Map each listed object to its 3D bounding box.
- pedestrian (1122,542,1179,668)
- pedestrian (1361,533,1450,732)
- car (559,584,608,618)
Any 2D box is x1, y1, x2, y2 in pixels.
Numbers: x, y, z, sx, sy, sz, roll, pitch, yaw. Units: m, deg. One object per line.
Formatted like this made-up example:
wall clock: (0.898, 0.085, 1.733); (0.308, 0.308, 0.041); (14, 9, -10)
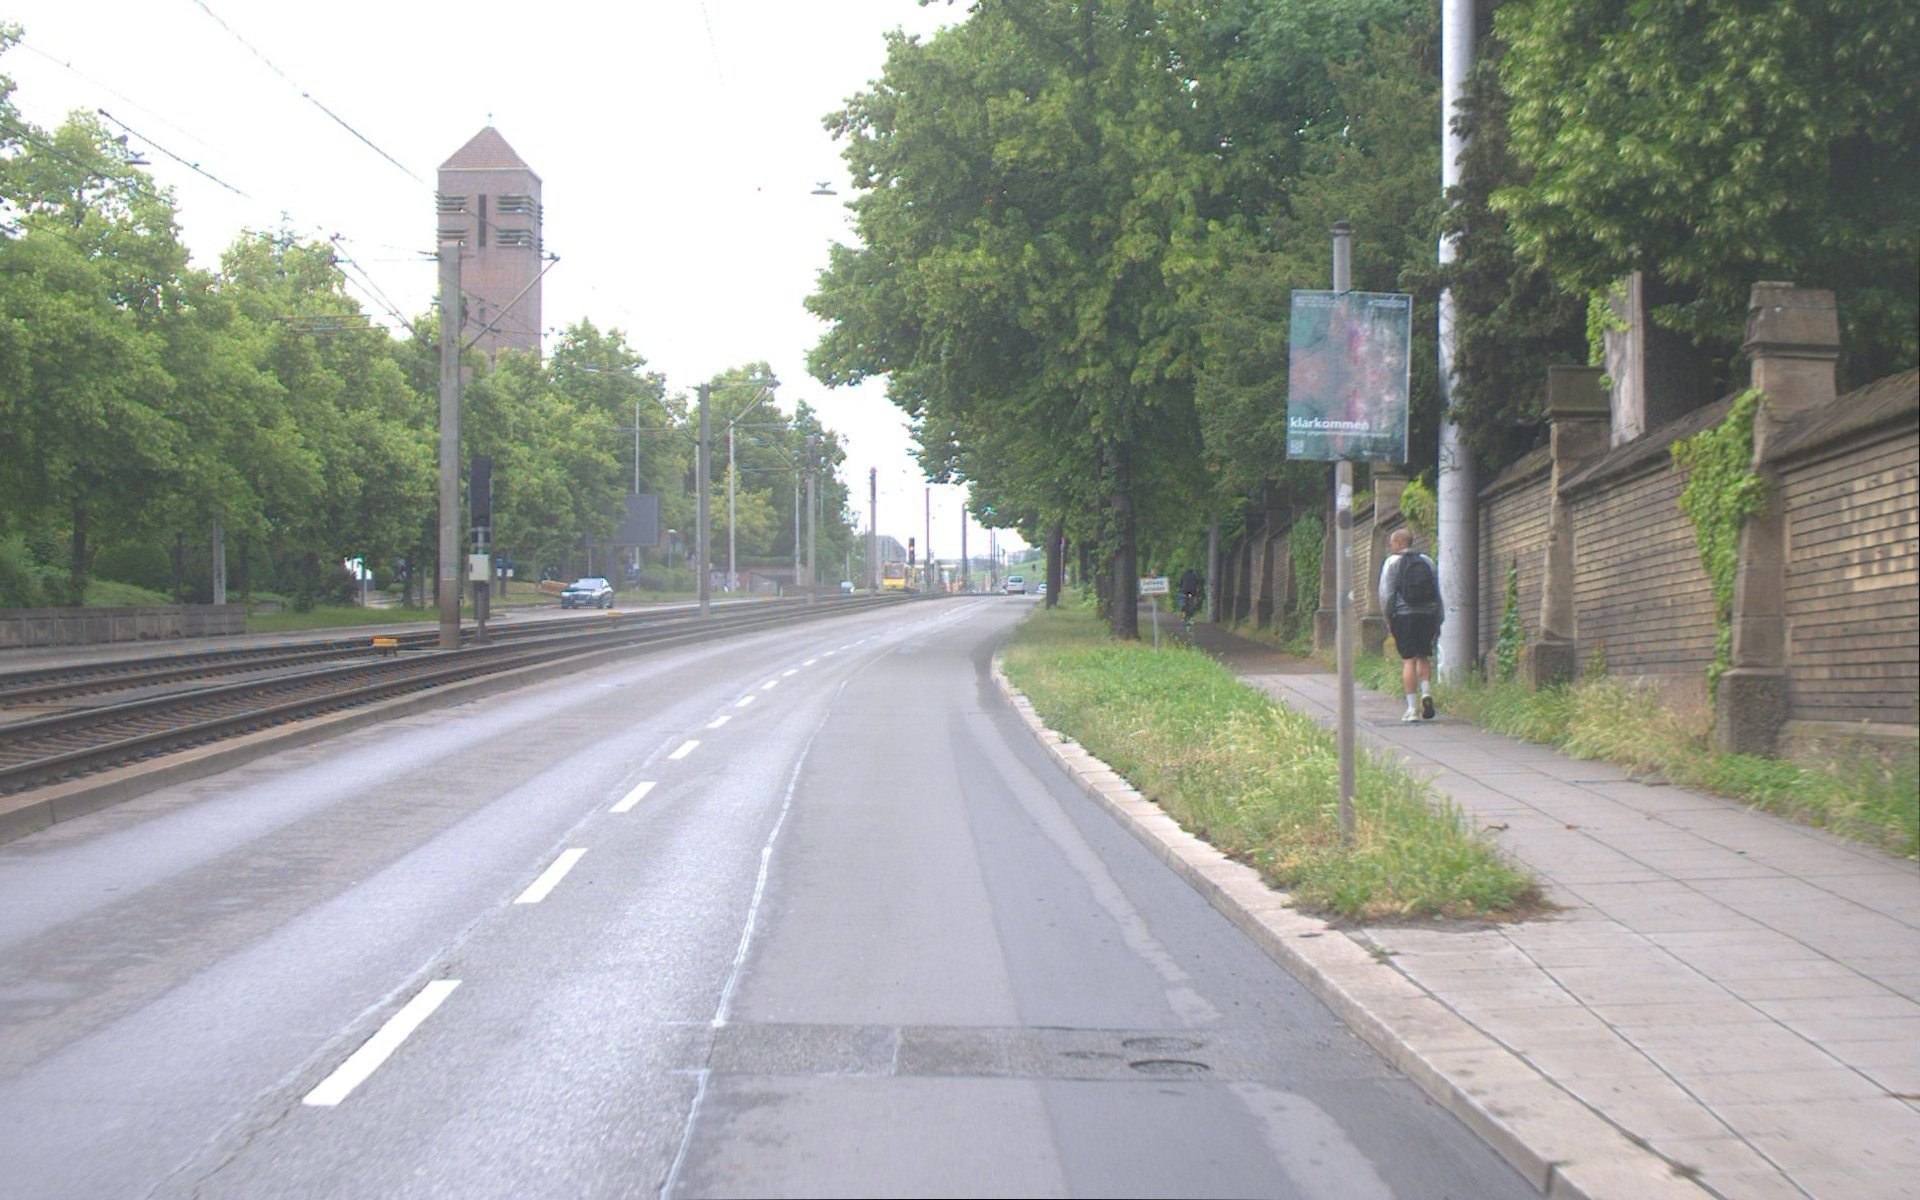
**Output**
pedestrian: (2.567, 0.060, 46.443); (0.720, 1.681, 0.729); (1, 0, 1)
pedestrian: (4.177, 0.299, 32.277); (0.720, 1.843, 0.783); (1, 0, 1)
car: (-17.644, 0.034, 161.350); (1.794, 1.505, 3.849); (-1, 1, 1)
